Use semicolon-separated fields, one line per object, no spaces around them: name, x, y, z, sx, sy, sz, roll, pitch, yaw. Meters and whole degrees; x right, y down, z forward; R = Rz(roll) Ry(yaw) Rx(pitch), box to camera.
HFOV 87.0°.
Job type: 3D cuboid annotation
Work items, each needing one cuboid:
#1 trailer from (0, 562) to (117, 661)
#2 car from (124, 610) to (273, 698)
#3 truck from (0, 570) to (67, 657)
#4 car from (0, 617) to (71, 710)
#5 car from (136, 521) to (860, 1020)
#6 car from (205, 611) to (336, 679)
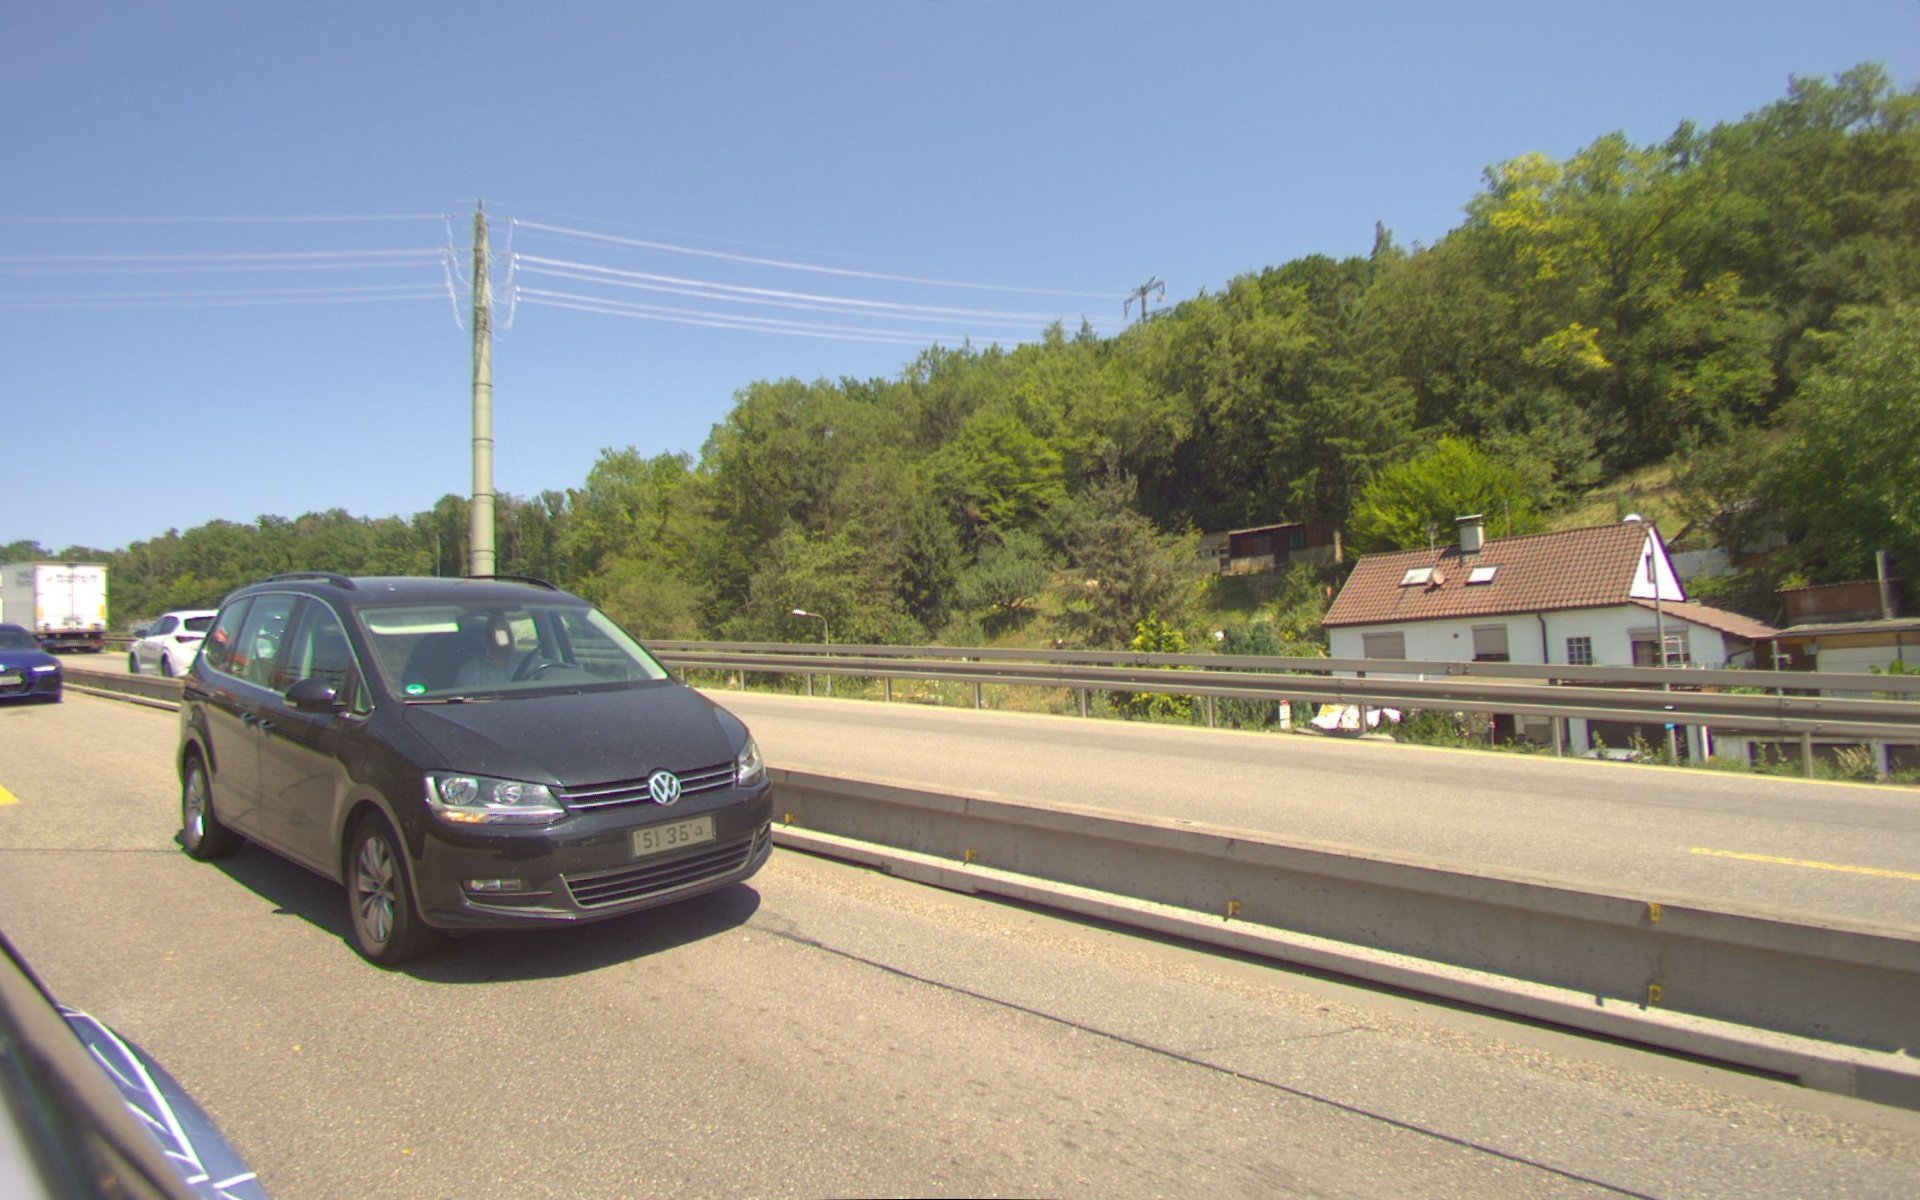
trailer;-42.254;0.580;46.954;9.003;4.197;2.975;-1;-1;38
car;-16.736;1.090;22.157;4.385;1.699;1.732;0;0;41
truck;-49.940;0.789;52.970;10.529;4.194;2.950;-2;-1;38
car;-18.151;1.140;18.699;4.781;1.567;1.872;-2;-2;40
car;-3.084;0.655;5.942;5.300;1.719;1.837;-2;-2;41
car;-19.615;1.204;28.712;4.658;1.755;1.886;0;0;40
